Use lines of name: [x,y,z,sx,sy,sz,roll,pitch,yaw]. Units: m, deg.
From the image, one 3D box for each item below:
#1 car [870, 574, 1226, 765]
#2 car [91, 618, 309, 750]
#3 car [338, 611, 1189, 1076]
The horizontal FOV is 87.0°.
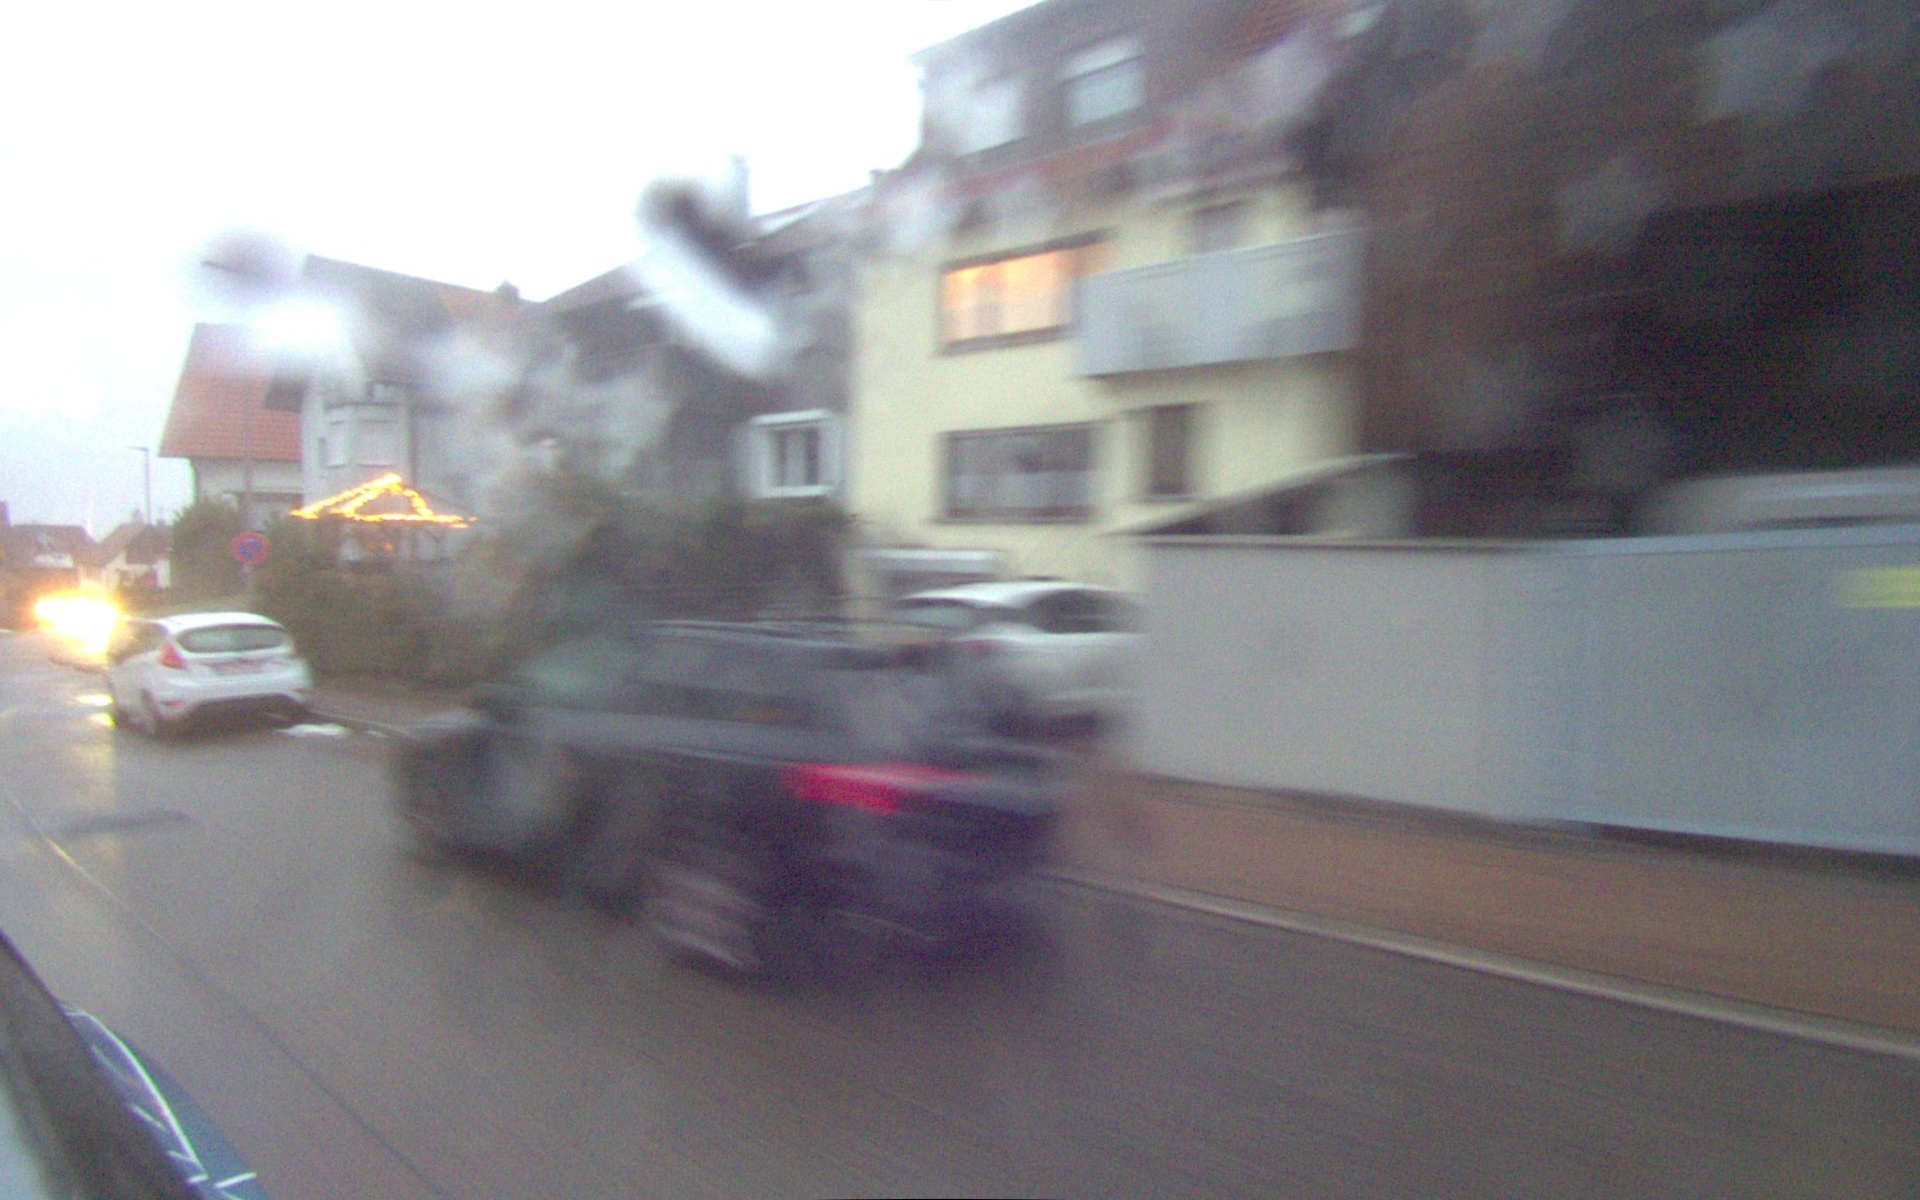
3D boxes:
car: [0.989,0.558,10.220,3.424,1.539,1.774,-2,1,-45]
car: [-10.060,0.983,13.310,3.655,1.449,1.601,-1,0,42]
car: [-1.486,0.774,5.502,5.073,1.405,1.858,-1,0,42]
